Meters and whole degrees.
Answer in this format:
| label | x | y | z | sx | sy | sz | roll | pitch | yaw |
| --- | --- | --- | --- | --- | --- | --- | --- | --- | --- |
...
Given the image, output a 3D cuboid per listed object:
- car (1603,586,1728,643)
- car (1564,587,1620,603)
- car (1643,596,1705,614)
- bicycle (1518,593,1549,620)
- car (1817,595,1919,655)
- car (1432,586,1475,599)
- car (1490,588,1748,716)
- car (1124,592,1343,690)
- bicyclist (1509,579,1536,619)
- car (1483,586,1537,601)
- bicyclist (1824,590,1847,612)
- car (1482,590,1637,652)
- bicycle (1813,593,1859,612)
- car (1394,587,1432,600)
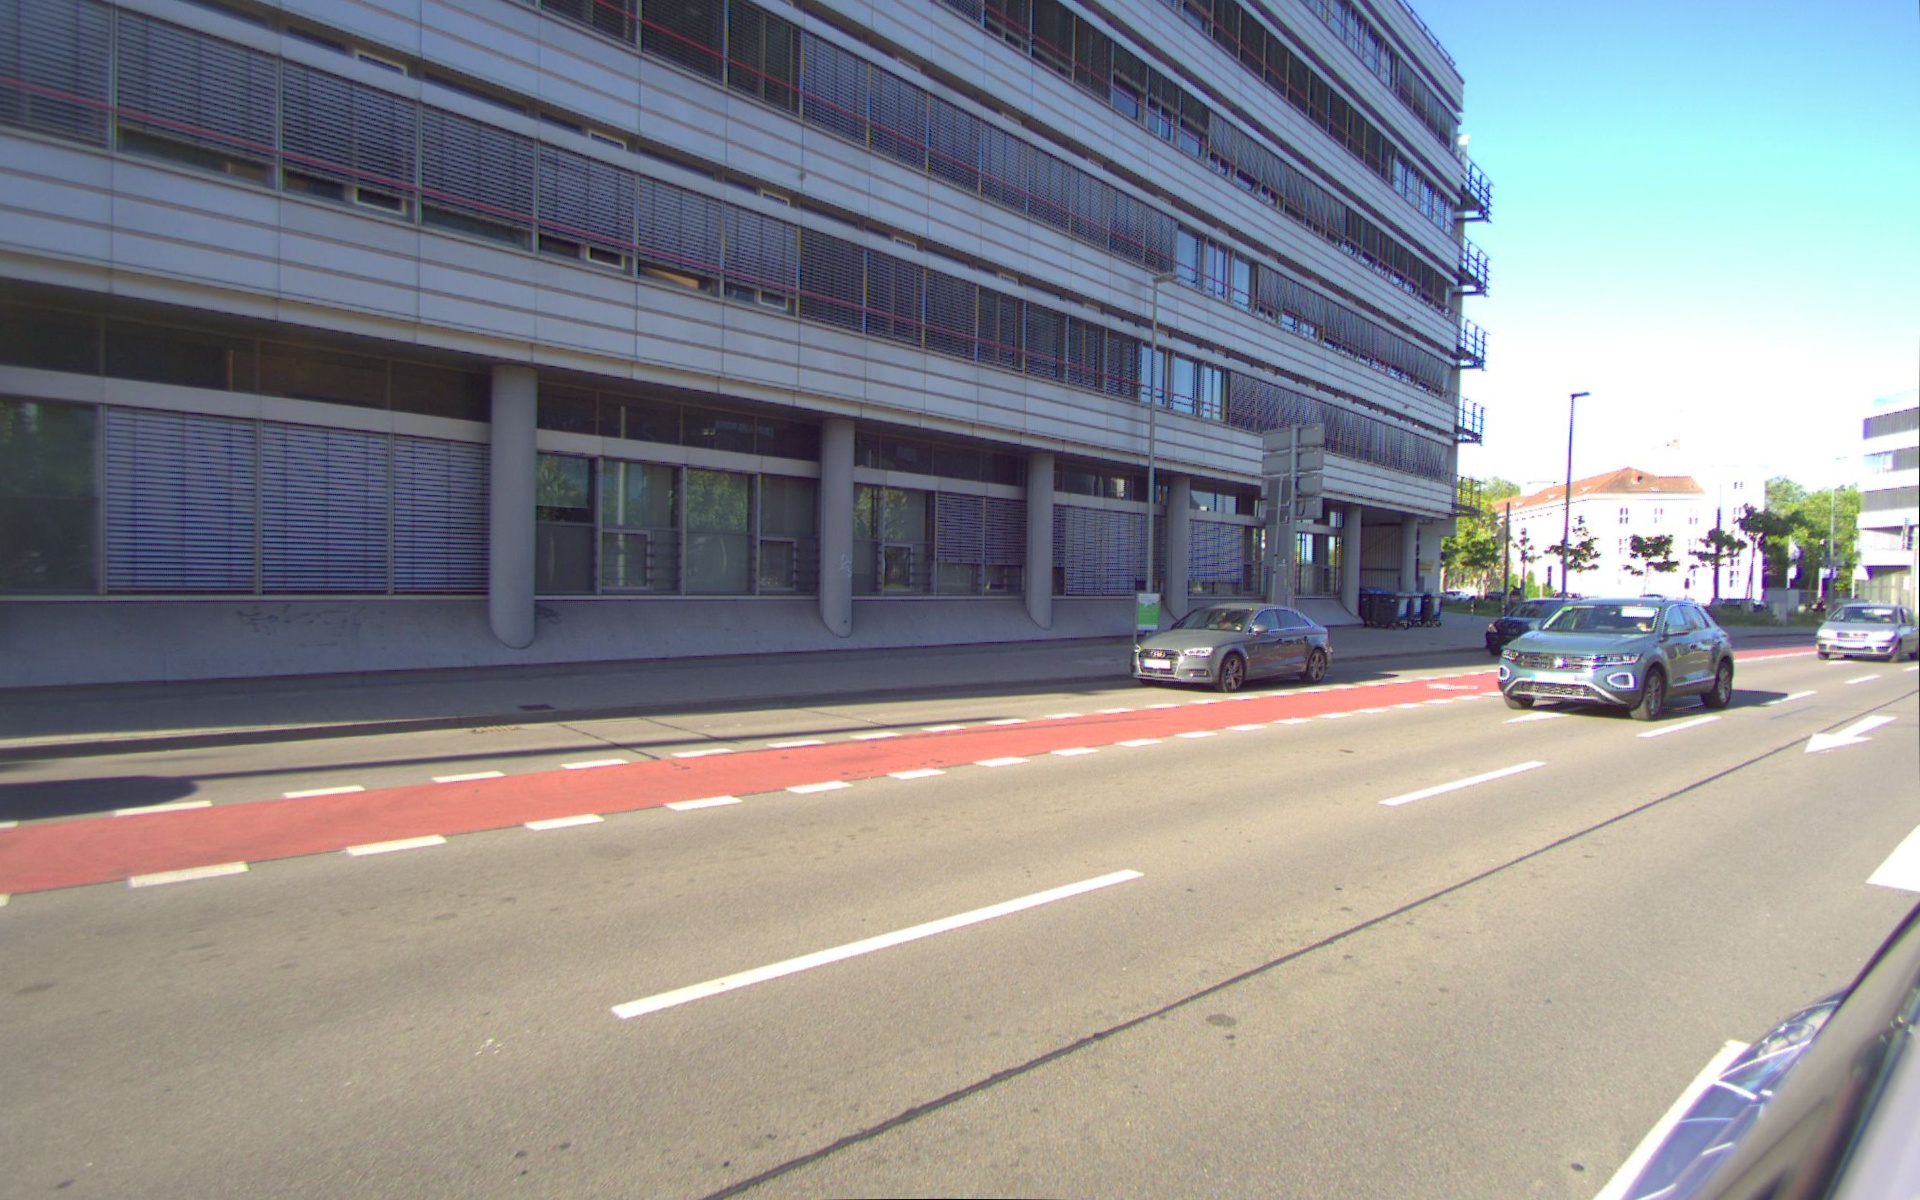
| label | x | y | z | sx | sy | sz | roll | pitch | yaw |
| --- | --- | --- | --- | --- | --- | --- | --- | --- | --- |
| car | 21.173 | 0.447 | 30.334 | 3.918 | 1.464 | 1.442 | 3 | 0 | -29 |
| car | 59.227 | -0.463 | 94.895 | 1.958 | 1.439 | 4.009 | 0 | 1 | -21 |
| car | 62.137 | 0.408 | 88.151 | 1.958 | 1.439 | 4.009 | 0 | 1 | -21 |
| bicycle | 24.264 | 0.267 | 42.816 | 1.672 | 1.070 | 0.505 | -1 | 4 | -40 |
| car | 23.859 | 0.596 | 26.186 | 3.695 | 1.447 | 1.622 | 0 | 0 | -34 |
| car | 53.341 | -0.809 | 109.485 | 1.958 | 1.259 | 4.009 | 0 | 1 | -19 |
| car | 9.110 | 0.617 | 13.910 | 3.807 | 1.524 | 1.750 | 0 | 0 | -36 |
| car | 4.750 | 0.600 | 17.301 | 4.041 | 1.459 | 1.712 | -1 | 1 | -42 |
| bicyclist | 23.907 | -0.049 | 43.020 | 0.973 | 1.638 | 0.685 | 0 | 1 | -39 |
| car | 55.744 | -0.664 | 102.596 | 1.958 | 1.439 | 4.535 | 0 | 1 | -24 |
| bicyclist | 64.890 | 0.049 | 75.030 | 0.862 | 1.627 | 1.009 | 0 | 1 | -27 |
| car | 15.311 | 0.508 | 25.810 | 3.920 | 1.464 | 1.739 | 1 | 0 | -31 |
| bicycle | 64.882 | 0.210 | 75.010 | 0.932 | 1.328 | 2.376 | 0 | 1 | -27 |
| car | 51.897 | -0.757 | 115.932 | 1.894 | 1.393 | 4.009 | 0 | 1 | -14 |
